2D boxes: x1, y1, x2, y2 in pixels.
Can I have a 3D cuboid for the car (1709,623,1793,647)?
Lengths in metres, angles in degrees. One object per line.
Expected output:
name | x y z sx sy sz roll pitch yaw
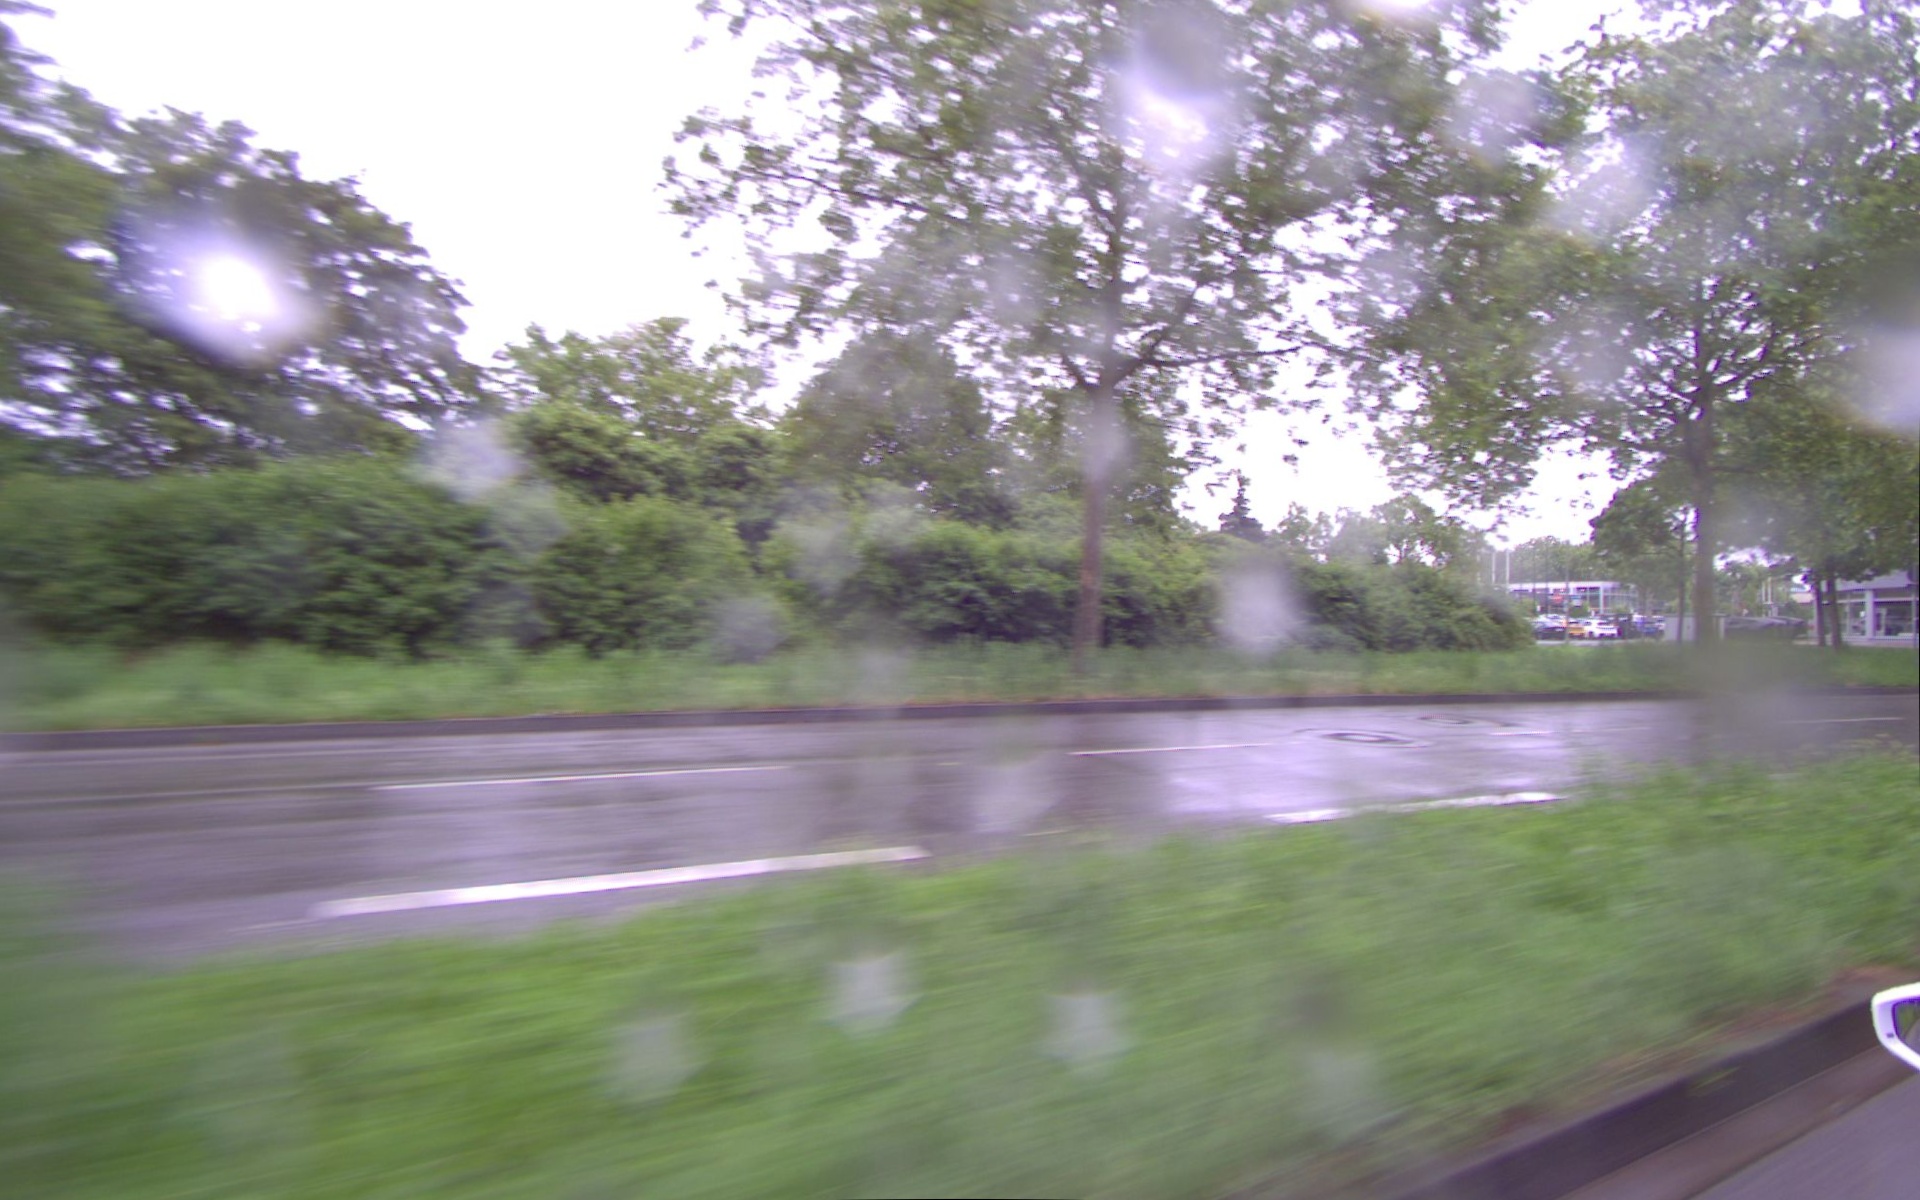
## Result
car | 53.446 2.319 67.930 1.579 1.514 4.170 1 -1 -30

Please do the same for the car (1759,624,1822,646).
car | 62.498 2.620 75.617 1.580 1.514 3.289 1 -1 -30

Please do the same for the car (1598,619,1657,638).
car | 54.431 2.323 81.992 1.580 1.514 3.742 1 -1 -30

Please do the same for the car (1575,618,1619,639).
car | 48.483 2.120 76.490 1.566 1.514 4.207 0 -1 14

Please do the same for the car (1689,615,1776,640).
car | 49.347 1.716 64.223 1.579 1.514 4.170 1 -1 -30

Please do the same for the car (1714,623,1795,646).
car | 55.688 2.402 70.492 1.579 1.514 4.170 1 -1 -30

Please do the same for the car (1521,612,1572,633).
car | 43.625 1.675 74.765 1.847 1.514 4.208 0 -1 9

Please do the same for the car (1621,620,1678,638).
car | 58.895 2.474 85.870 1.580 1.514 3.742 1 -1 -30

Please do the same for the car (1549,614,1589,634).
car | 45.936 1.790 75.834 1.565 1.514 3.074 0 -1 11
